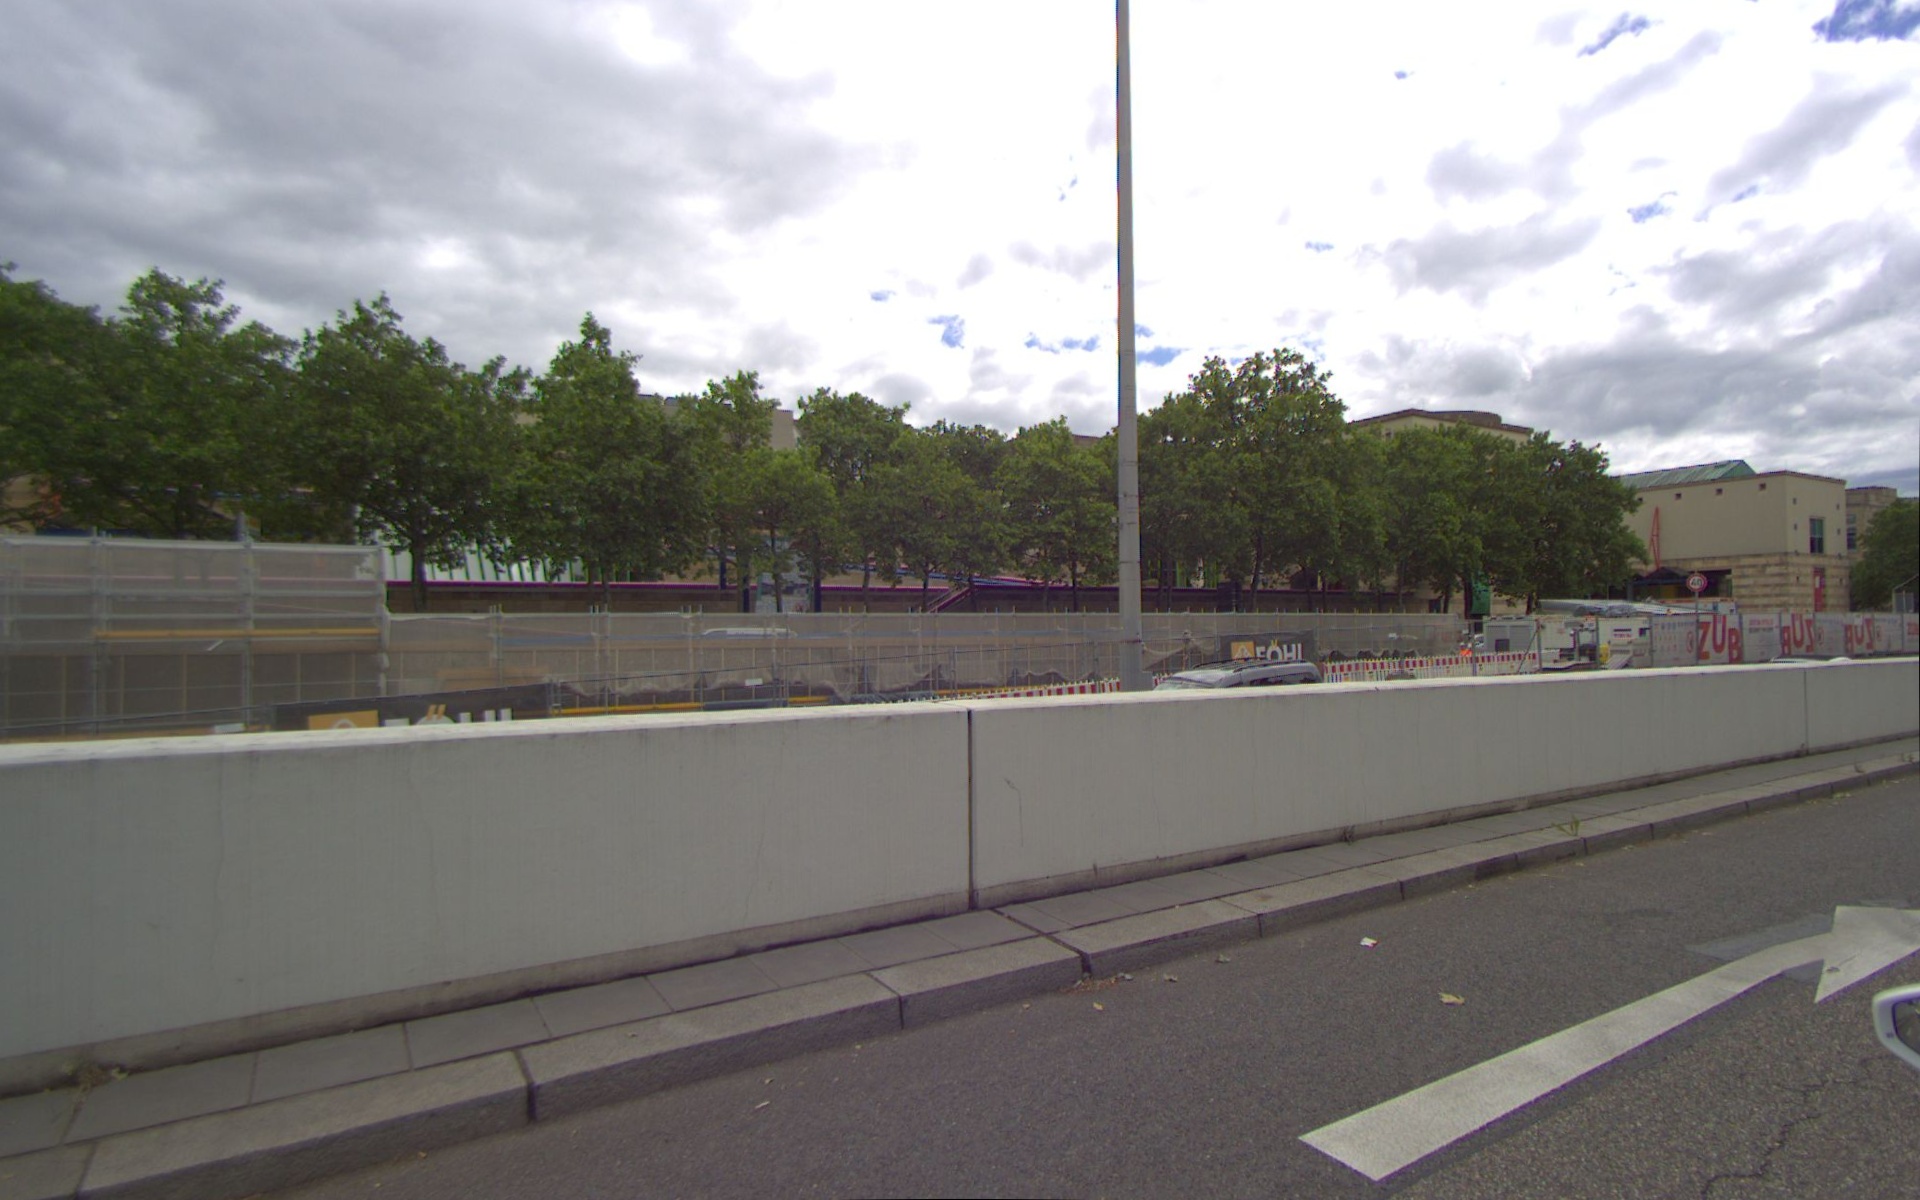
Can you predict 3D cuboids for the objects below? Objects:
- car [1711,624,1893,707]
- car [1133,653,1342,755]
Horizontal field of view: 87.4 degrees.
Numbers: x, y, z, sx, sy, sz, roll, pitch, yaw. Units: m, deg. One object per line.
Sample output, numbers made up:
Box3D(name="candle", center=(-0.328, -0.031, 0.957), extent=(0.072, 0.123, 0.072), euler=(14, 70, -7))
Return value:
Box3D(name="car", center=(18.610, 1.389, 22.168), extent=(3.957, 1.663, 1.983), euler=(1, -3, -33))
Box3D(name="car", center=(4.956, 1.801, 17.908), extent=(3.339, 1.588, 1.742), euler=(1, -5, -32))
